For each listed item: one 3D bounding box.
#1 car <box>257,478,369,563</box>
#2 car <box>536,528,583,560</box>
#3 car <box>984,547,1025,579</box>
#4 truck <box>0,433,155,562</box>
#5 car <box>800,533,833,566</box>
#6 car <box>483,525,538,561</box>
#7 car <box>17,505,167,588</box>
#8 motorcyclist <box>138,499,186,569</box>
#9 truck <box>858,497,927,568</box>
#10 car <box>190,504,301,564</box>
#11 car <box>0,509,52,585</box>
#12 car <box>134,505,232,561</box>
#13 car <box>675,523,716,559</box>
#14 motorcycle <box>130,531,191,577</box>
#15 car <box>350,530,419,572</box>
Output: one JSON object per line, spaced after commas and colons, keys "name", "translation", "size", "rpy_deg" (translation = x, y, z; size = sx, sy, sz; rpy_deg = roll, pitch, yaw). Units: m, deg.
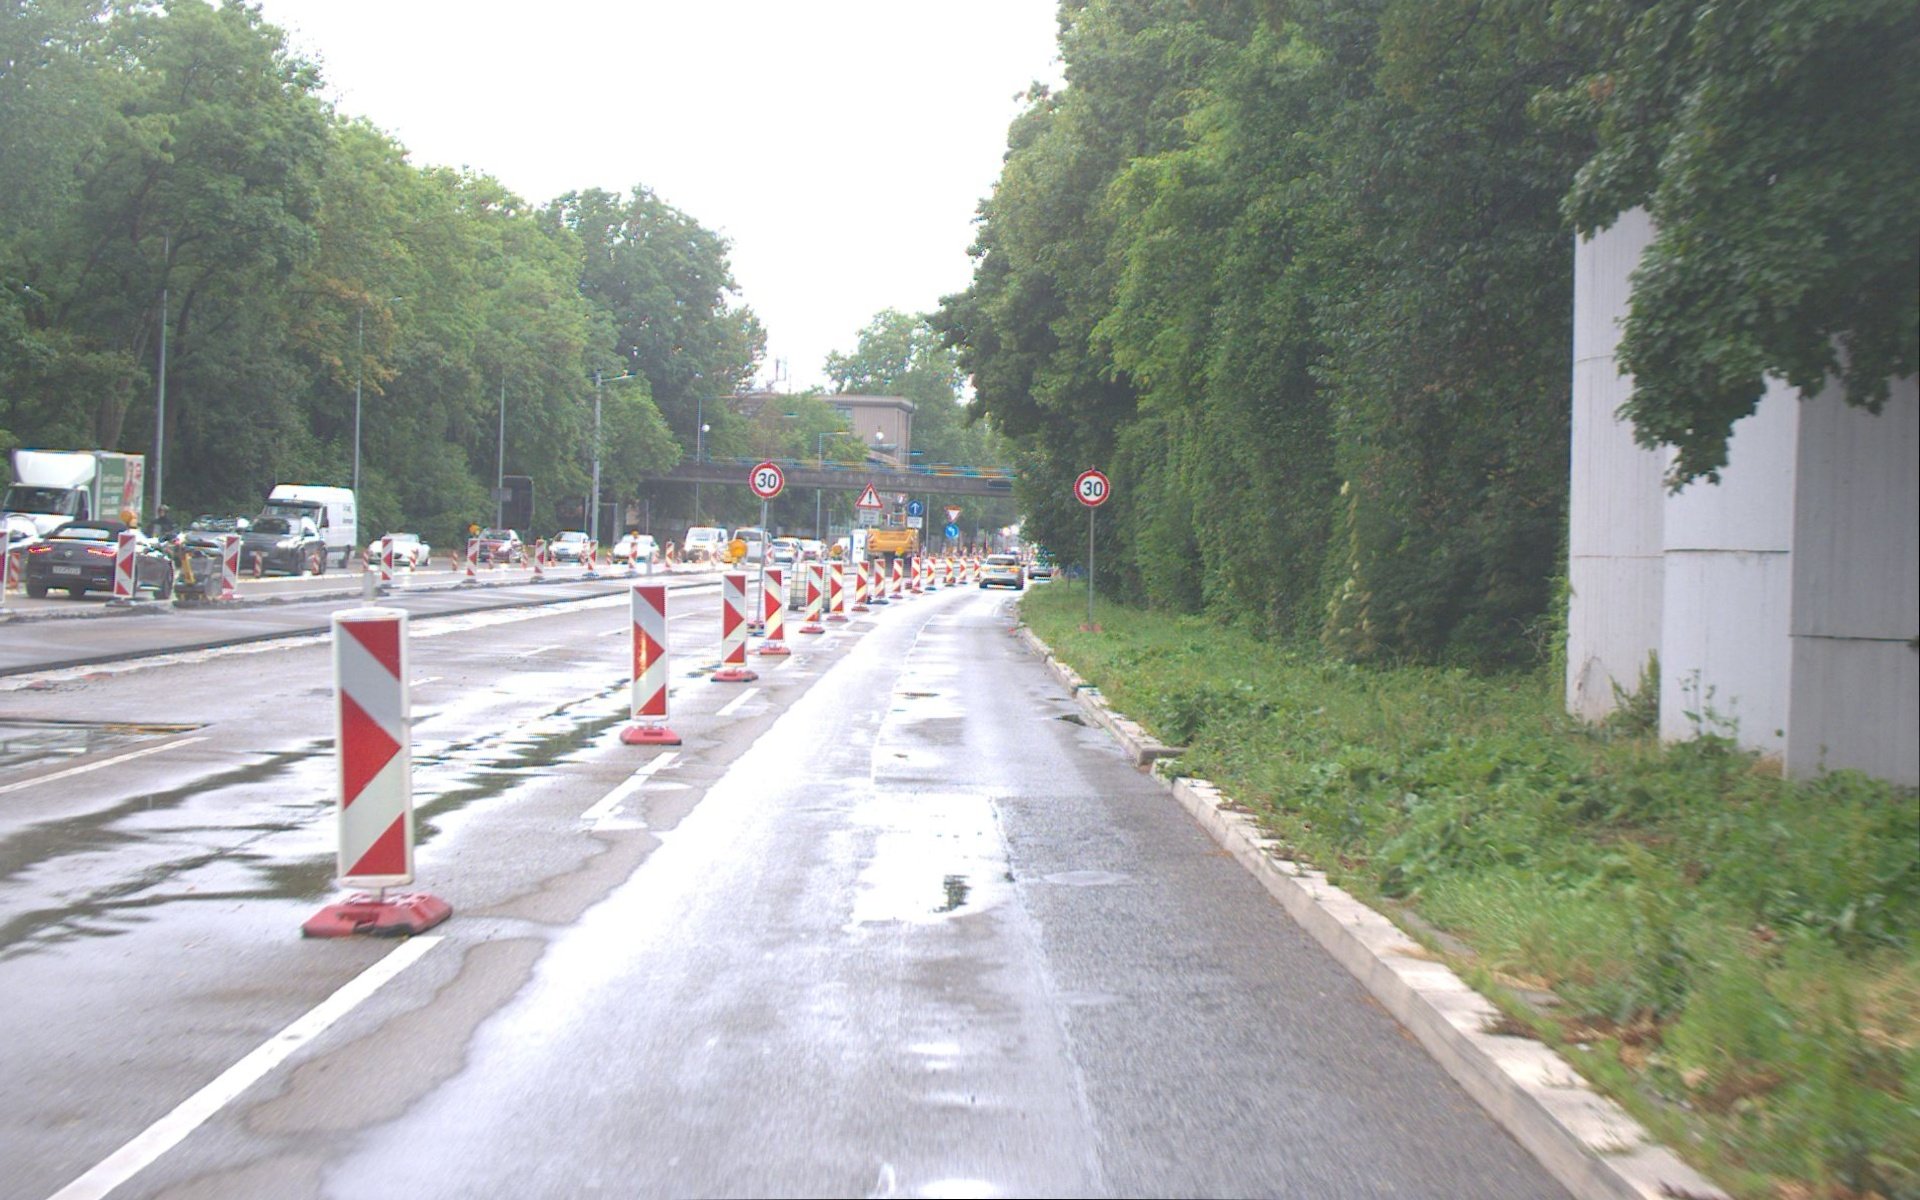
{"name": "car", "translation": [-20.631, -2.538, 109.938], "size": [2.100, 2.571, 6.854], "rpy_deg": [2, 1, 1]}
{"name": "car", "translation": [-19.074, -2.687, 164.029], "size": [1.670, 1.480, 4.049], "rpy_deg": [2, 1, 1]}
{"name": "car", "translation": [1.911, -1.582, 147.256], "size": [1.697, 1.331, 3.491], "rpy_deg": [-1, 1, 1]}
{"name": "truck", "translation": [-21.582, -2.460, 83.516], "size": [2.246, 2.930, 6.935], "rpy_deg": [2, 1, 1]}
{"name": "car", "translation": [-8.438, -2.977, 202.201], "size": [1.670, 1.802, 4.320], "rpy_deg": [2, 2, 1]}
{"name": "car", "translation": [-19.196, -2.445, 146.835], "size": [1.670, 1.480, 4.320], "rpy_deg": [2, 1, 1]}
{"name": "car", "translation": [-15.687, -0.981, 62.284], "size": [1.607, 1.399, 4.041], "rpy_deg": [2, 1, 1]}
{"name": "motorcyclist", "translation": [-18.278, -1.517, 78.746], "size": [0.828, 1.559, 0.927], "rpy_deg": [3, 1, 0]}
{"name": "truck", "translation": [-3.474, -3.552, 179.748], "size": [3.259, 3.485, 13.871], "rpy_deg": [2, 1, 0]}
{"name": "car", "translation": [-19.336, -1.784, 93.197], "size": [1.960, 1.526, 4.436], "rpy_deg": [2, 1, 1]}
{"name": "car", "translation": [-18.676, -1.039, 65.496], "size": [1.670, 1.411, 4.320], "rpy_deg": [2, 1, -1]}
{"name": "car", "translation": [-21.777, -1.890, 96.443], "size": [1.670, 1.480, 4.320], "rpy_deg": [2, 1, 1]}
{"name": "car", "translation": [-13.722, -3.081, 178.767], "size": [1.670, 1.802, 4.320], "rpy_deg": [2, 1, 1]}
{"name": "motorcycle", "translation": [-18.304, -1.058, 78.759], "size": [0.828, 1.011, 2.367], "rpy_deg": [3, 1, 0]}
{"name": "car", "translation": [-20.884, -1.795, 124.887], "size": [1.670, 1.480, 4.320], "rpy_deg": [2, 1, 1]}
